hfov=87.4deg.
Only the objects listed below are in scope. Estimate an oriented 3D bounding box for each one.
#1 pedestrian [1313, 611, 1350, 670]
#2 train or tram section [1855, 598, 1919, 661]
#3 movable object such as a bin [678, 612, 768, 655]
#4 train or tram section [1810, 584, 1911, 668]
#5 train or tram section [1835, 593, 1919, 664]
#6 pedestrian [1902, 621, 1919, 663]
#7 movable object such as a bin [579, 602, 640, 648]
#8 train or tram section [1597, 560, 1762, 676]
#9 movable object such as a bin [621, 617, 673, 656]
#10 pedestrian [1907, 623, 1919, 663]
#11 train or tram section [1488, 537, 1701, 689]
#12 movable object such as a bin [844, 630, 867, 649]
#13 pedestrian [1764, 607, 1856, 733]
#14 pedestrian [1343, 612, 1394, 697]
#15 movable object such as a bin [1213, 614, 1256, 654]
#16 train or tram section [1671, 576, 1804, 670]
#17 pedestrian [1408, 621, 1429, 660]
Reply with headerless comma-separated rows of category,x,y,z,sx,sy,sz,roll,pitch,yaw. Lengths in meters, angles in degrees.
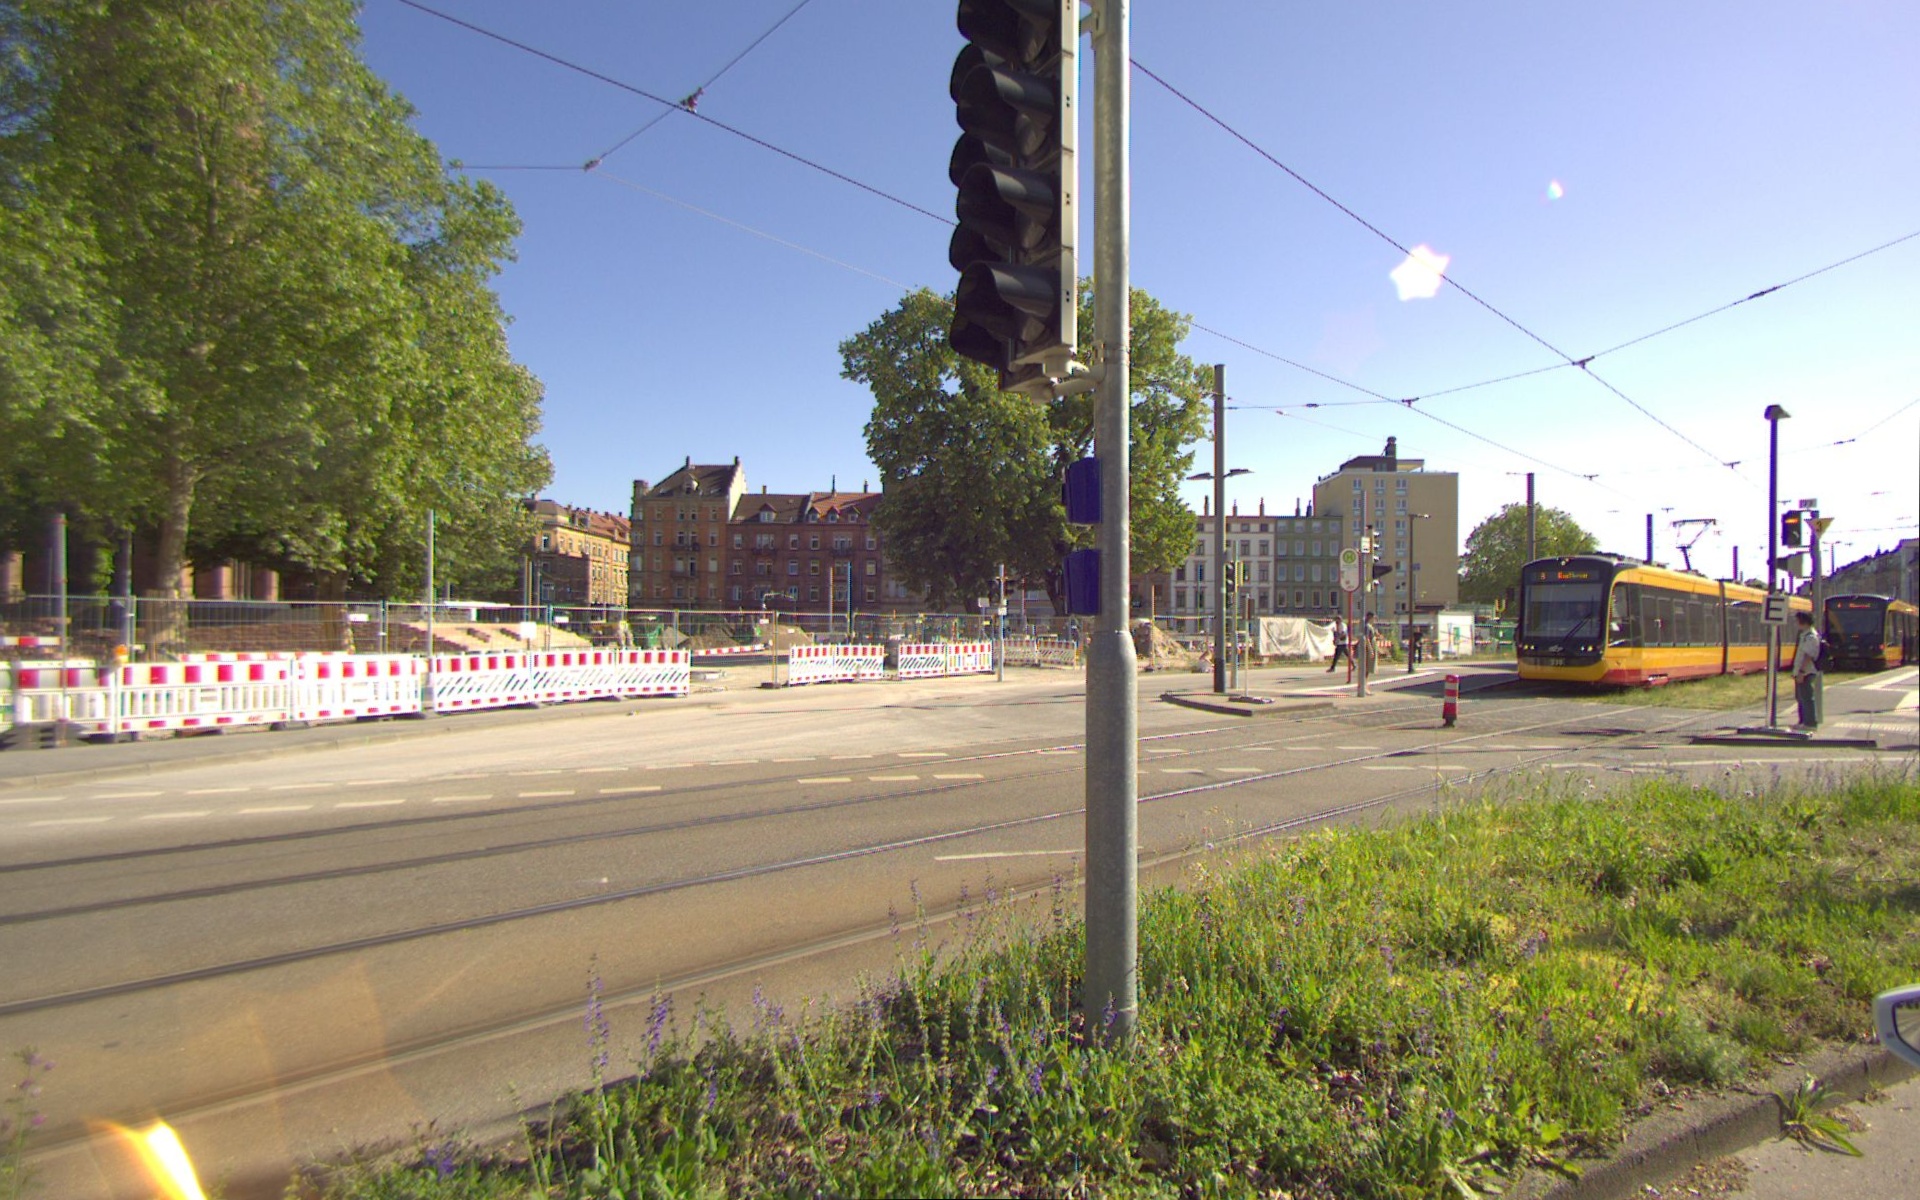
pedestrian,11.536,1.249,31.232,0.954,1.791,0.866,0,-1,11
train or tram section,57.354,1.798,61.676,10.472,3.554,2.843,2,-1,-44
movable object such as a bin,-16.973,2.409,72.201,5.968,2.795,1.894,2,-1,-3
train or tram section,42.335,1.256,47.054,10.472,3.554,2.843,2,-2,-44
train or tram section,49.874,1.565,54.426,10.472,3.554,2.843,2,-2,-44
pedestrian,44.012,1.951,46.274,0.756,1.908,0.838,3,-1,-45
movable object such as a bin,-26.374,1.861,75.815,3.060,3.214,5.244,2,-1,-5
train or tram section,25.630,0.686,35.490,10.537,3.554,2.790,2,-1,-43
movable object such as a bin,-20.073,2.334,64.549,1.857,2.377,4.230,2,-1,0
pedestrian,47.746,2.160,50.065,0.732,1.943,0.738,1,-1,45
train or tram section,18.062,0.466,28.158,10.411,3.554,2.789,2,-2,-45
movable object such as a bin,-10.041,3.798,96.850,1.716,1.702,3.802,0,-1,2
pedestrian,13.174,1.060,15.597,1.003,1.856,0.758,1,-1,36
pedestrian,9.346,1.221,22.970,0.888,1.875,0.760,-1,1,39
movable object such as a bin,20.648,2.526,75.705,1.798,2.833,3.997,2,-1,-5
train or tram section,33.394,1.009,42.913,11.132,3.554,2.790,2,-1,-43
pedestrian,21.357,1.902,46.760,0.795,1.791,0.661,2,-2,-45
